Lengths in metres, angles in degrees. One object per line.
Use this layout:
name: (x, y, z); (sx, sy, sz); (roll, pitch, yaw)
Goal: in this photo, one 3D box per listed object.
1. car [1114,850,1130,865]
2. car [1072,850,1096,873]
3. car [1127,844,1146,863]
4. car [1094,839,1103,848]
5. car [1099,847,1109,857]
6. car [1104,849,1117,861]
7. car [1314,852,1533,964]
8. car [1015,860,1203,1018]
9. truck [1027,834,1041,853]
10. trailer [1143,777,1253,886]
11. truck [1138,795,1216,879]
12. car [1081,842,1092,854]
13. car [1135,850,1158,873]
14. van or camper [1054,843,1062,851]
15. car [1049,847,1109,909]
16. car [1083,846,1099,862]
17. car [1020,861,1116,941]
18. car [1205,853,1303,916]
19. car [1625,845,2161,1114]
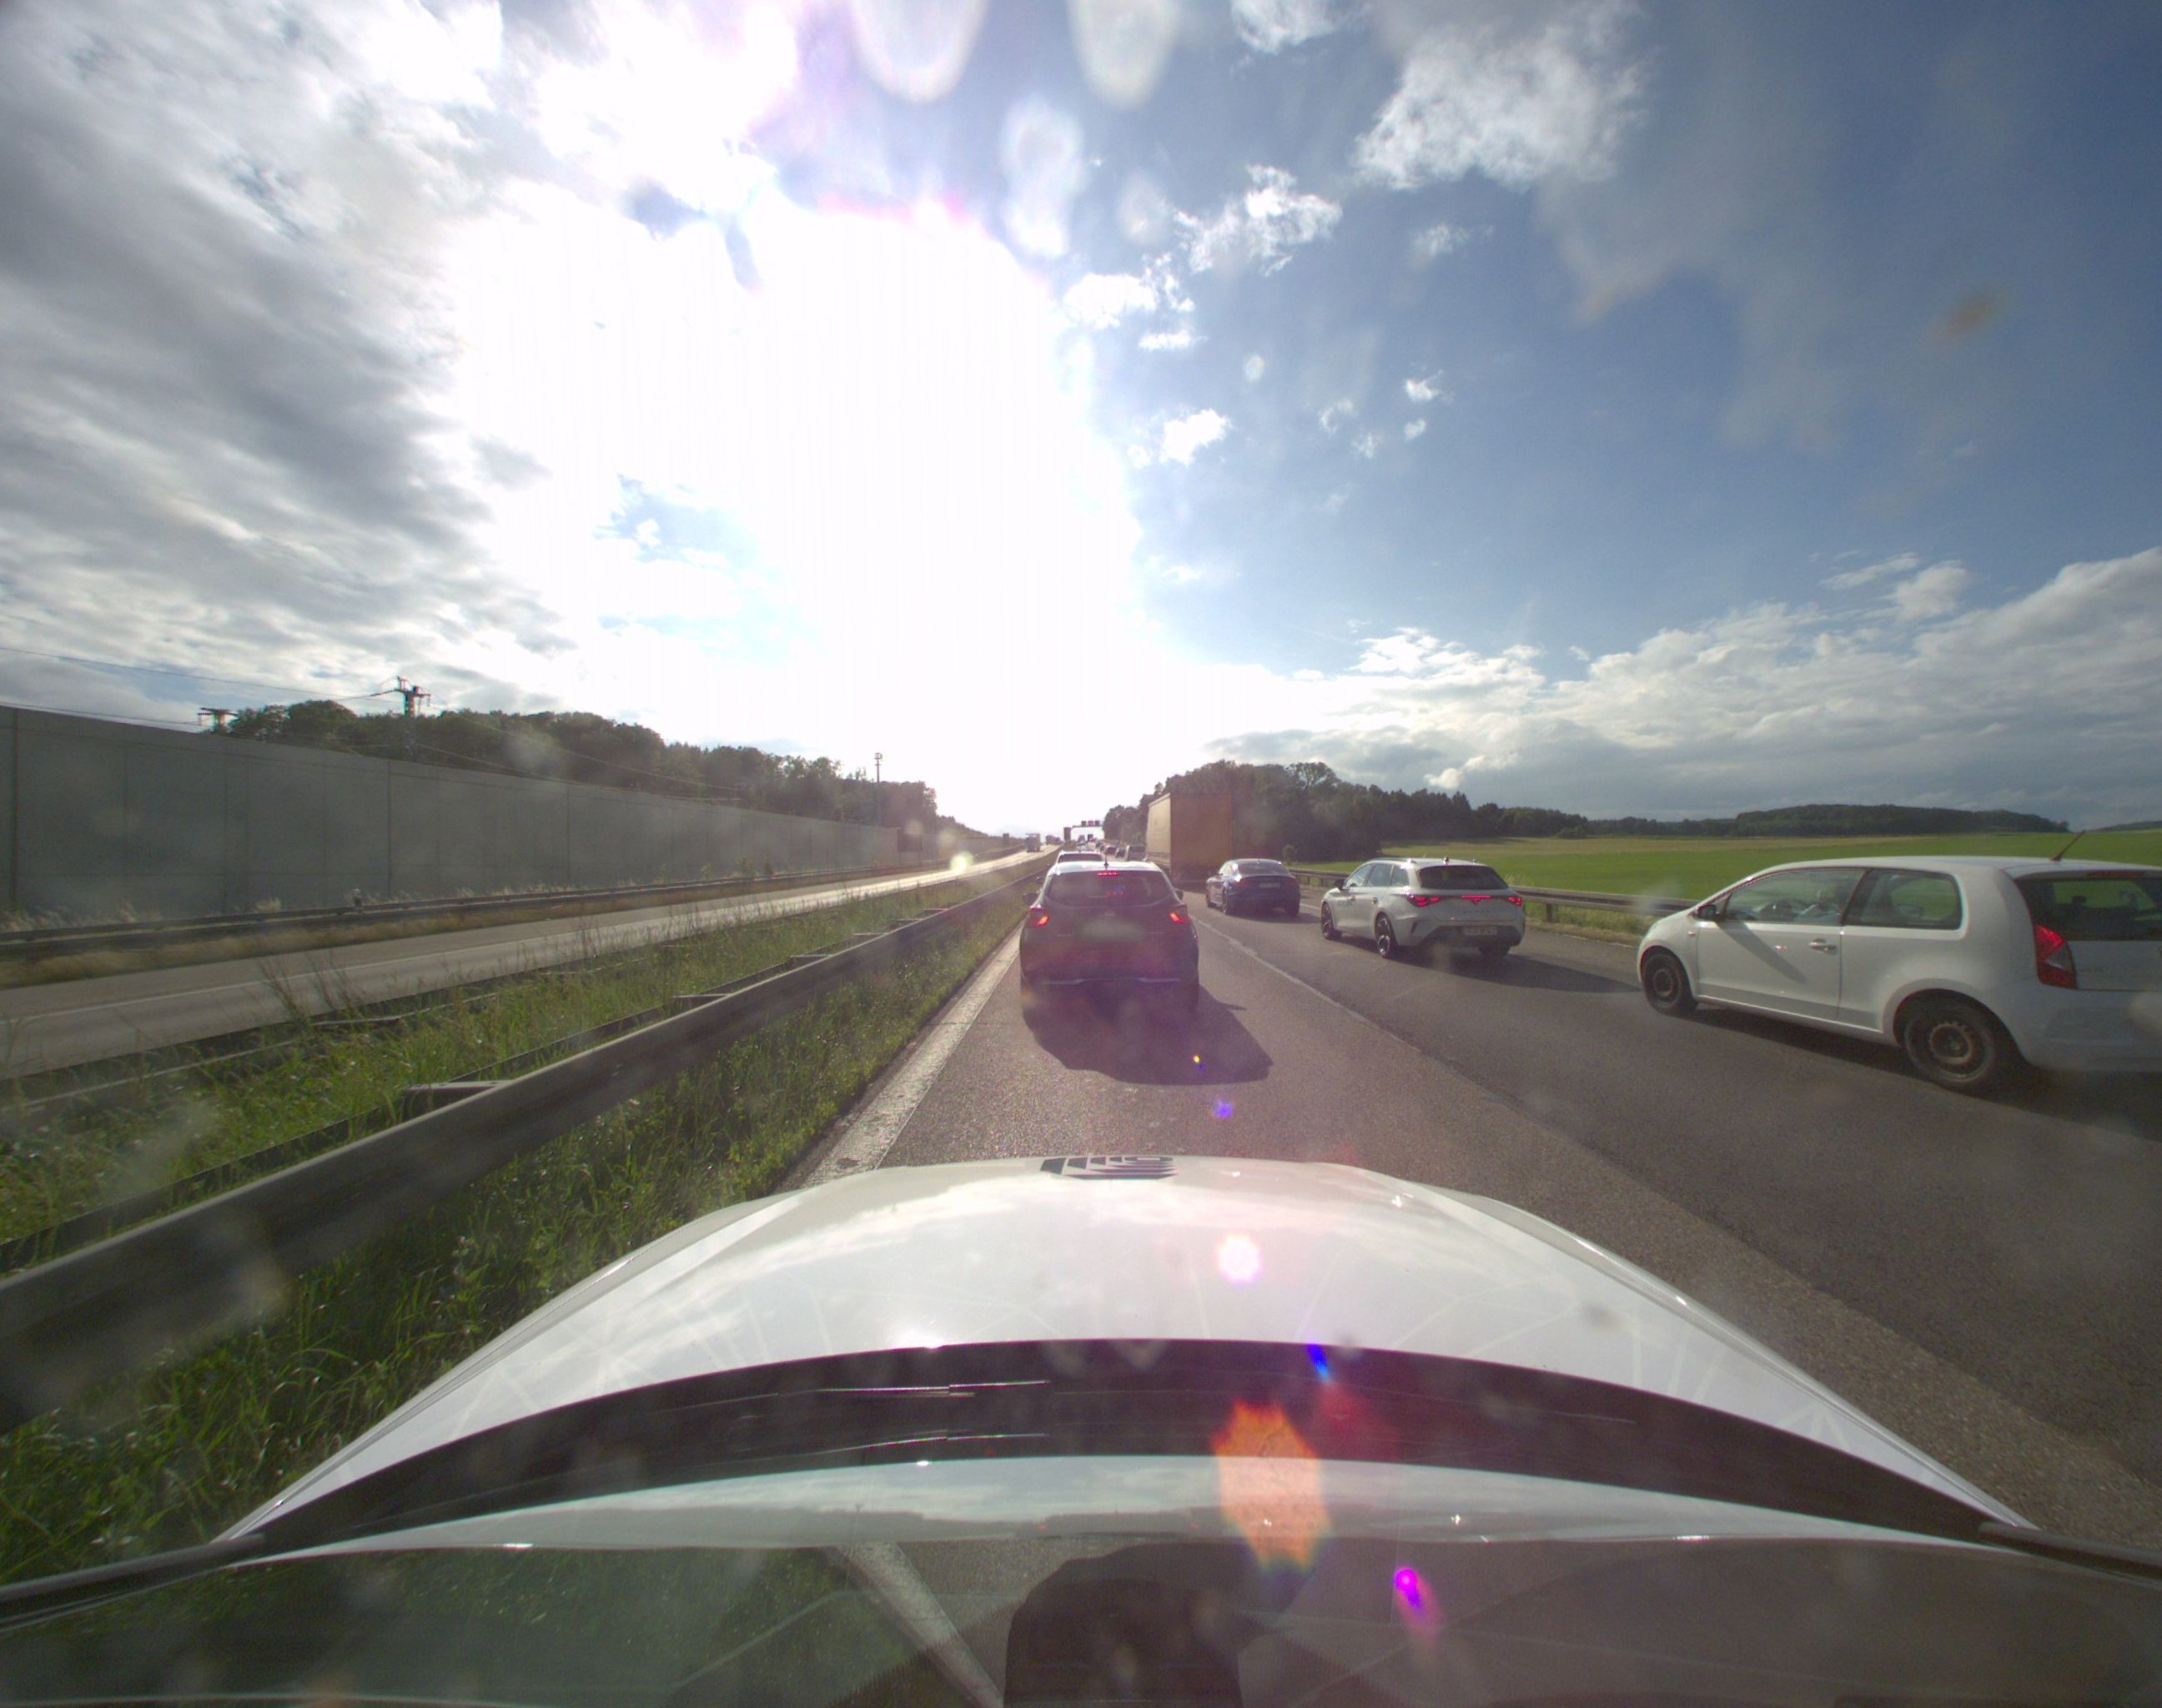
car: (5.921, 0.504, 118.121); (1.987, 2.014, 3.998); (0, -1, -1)
car: (0.244, 0.662, 72.237); (1.987, 2.014, 3.998); (0, -1, -1)
car: (5.238, -0.042, 77.037); (1.661, 1.755, 3.328); (0, -1, 2)
car: (4.143, -2.439, 190.990); (1.987, 2.014, 3.998); (0, -1, -1)
car: (4.511, -0.334, 160.452); (1.987, 2.014, 3.998); (0, -1, -1)
car: (4.983, 0.145, 136.244); (1.987, 2.014, 3.998); (0, -1, -1)
car: (5.074, 0.730, 12.728); (1.616, 1.445, 4.144); (-1, -1, -1)
car: (0.308, 0.794, 9.144); (1.703, 1.426, 3.379); (-1, -1, 2)
truck: (-10.310, -2.259, 177.583); (2.629, 4.098, 7.000); (0, -1, 0)
trailer: (5.295, -0.893, 39.879); (3.538, 4.457, 12.718); (0, -1, 0)
truck: (5.284, -0.876, 46.270); (3.571, 4.380, 6.686); (0, -1, -1)
car: (1.031, -1.079, 148.733); (1.987, 2.014, 3.998); (0, -1, -1)
car: (5.109, 0.610, 63.678); (1.661, 1.755, 3.328); (0, -1, 2)
van or camper: (-7.362, -2.245, 256.789); (2.158, 2.205, 6.260); (0, -1, 2)
car: (-0.002, 0.695, 24.644); (1.668, 1.726, 3.597); (-1, -1, 1)
car: (1.294, 0.020, 104.525); (1.987, 2.014, 3.998); (0, -1, -1)
car: (-0.181, 0.835, 15.994); (1.668, 1.367, 3.597); (-1, -1, 1)
car: (4.398, 0.744, 21.299); (1.741, 1.475, 4.147); (-1, -1, 1)
car: (6.109, 0.688, 6.276); (1.544, 1.495, 3.376); (0, 0, -1)
